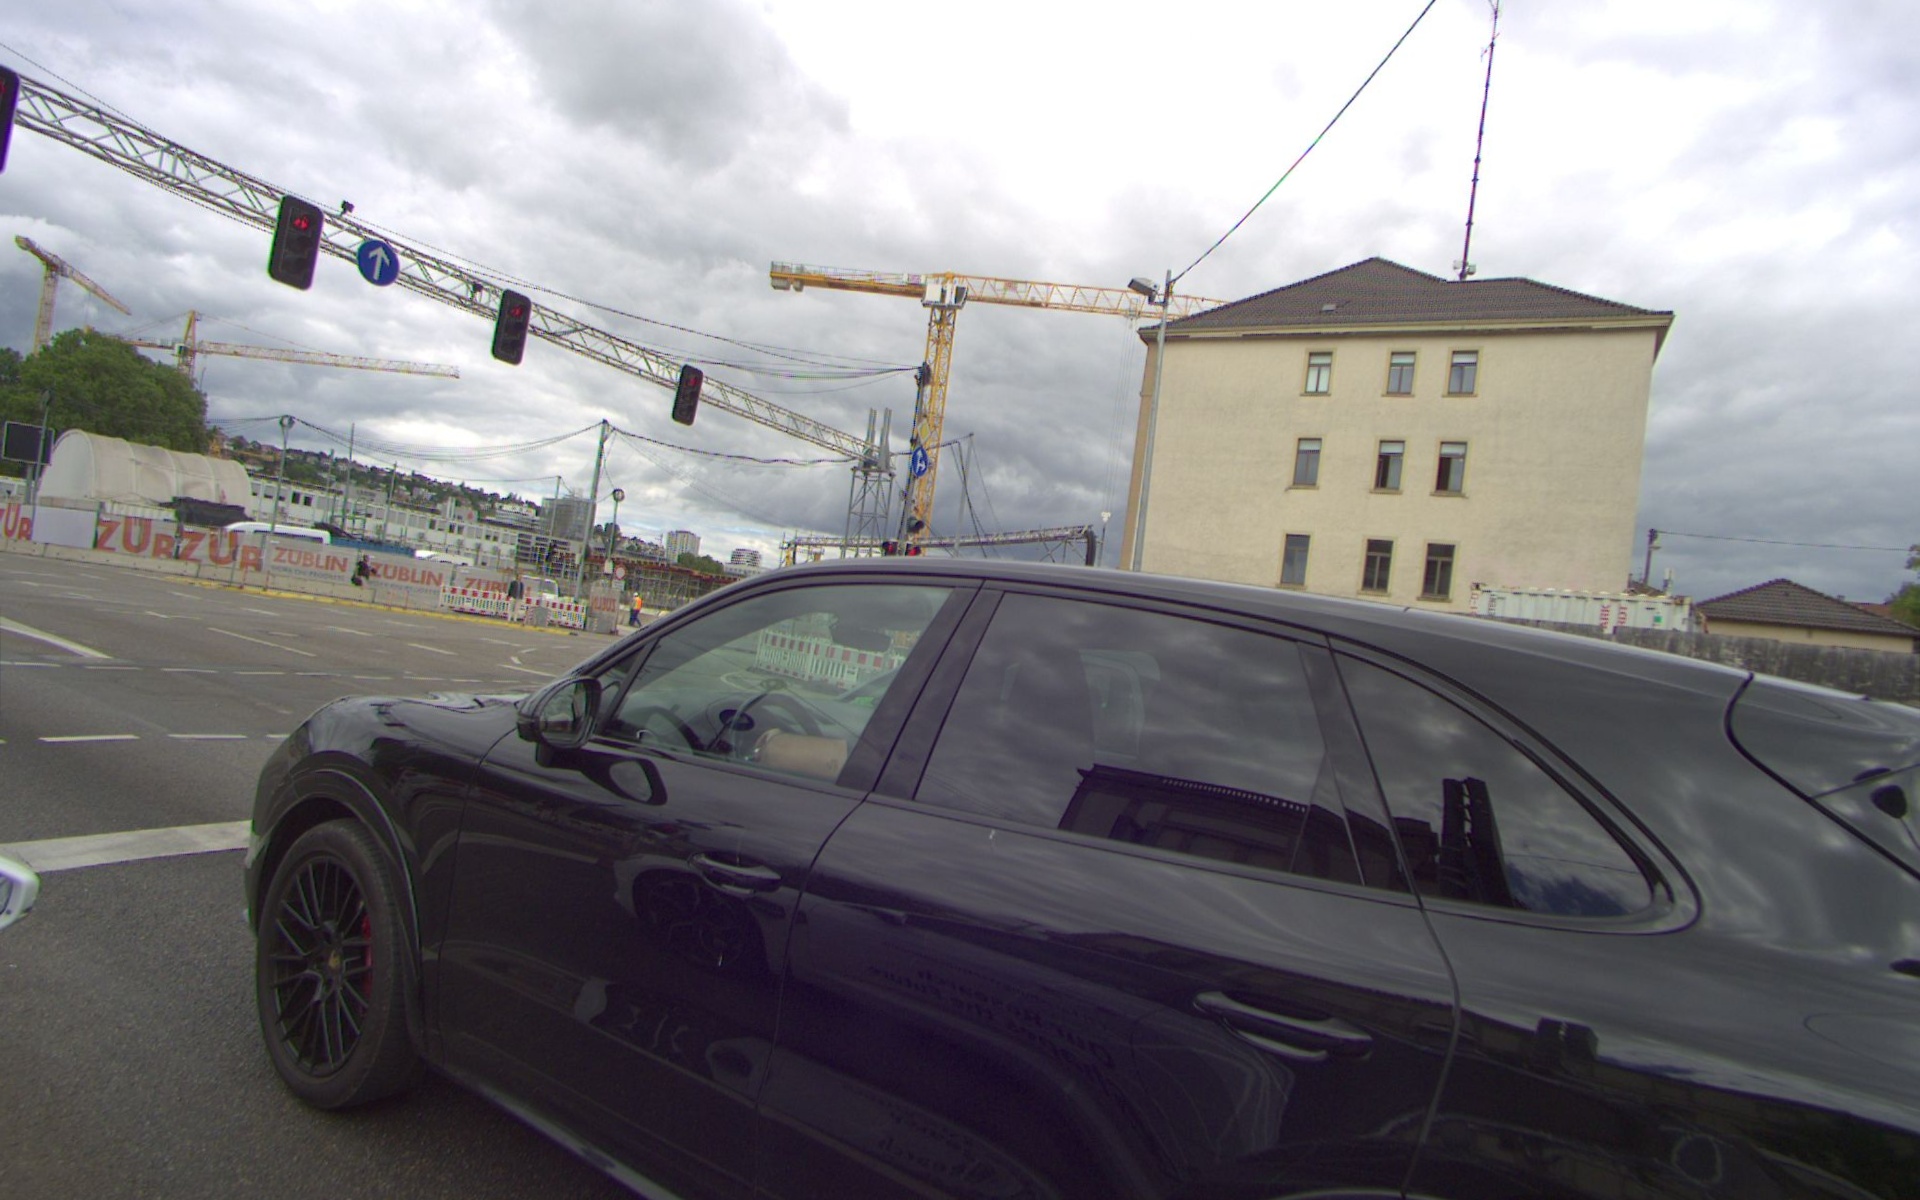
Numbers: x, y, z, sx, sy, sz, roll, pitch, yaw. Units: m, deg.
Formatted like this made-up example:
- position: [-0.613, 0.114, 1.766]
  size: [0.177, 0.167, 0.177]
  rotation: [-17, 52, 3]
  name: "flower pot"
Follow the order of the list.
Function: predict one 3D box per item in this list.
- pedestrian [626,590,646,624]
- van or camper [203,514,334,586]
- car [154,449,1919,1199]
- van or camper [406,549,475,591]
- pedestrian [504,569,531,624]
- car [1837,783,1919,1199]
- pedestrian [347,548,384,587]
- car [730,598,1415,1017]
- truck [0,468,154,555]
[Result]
- position: [-17.442, 0.397, 54.095]
  size: [0.508, 1.737, 0.654]
  rotation: [7, -1, 21]
  name: "pedestrian"
- position: [-29.795, -2.141, 43.403]
  size: [4.204, 2.384, 1.976]
  rotation: [10, -3, -44]
  name: "van or camper"
- position: [0.048, 0.715, 2.690]
  size: [4.559, 1.705, 1.959]
  rotation: [7, -2, 33]
  name: "car"
- position: [-46.120, -2.607, 89.442]
  size: [1.963, 2.945, 5.304]
  rotation: [7, -2, 20]
  name: "van or camper"
- position: [-17.176, -0.133, 39.031]
  size: [0.647, 2.037, 0.513]
  rotation: [8, -1, -33]
  name: "pedestrian"
- position: [5.603, 1.753, 2.681]
  size: [4.579, 1.589, 1.825]
  rotation: [6, -2, 34]
  name: "car"
- position: [-23.276, -1.262, 39.384]
  size: [0.891, 1.393, 0.797]
  rotation: [8, -1, -15]
  name: "pedestrian"
- position: [0.604, 1.043, 6.366]
  size: [3.818, 1.561, 1.667]
  rotation: [7, -2, 33]
  name: "car"
- position: [-57.895, -5.792, 61.917]
  size: [3.875, 4.086, 13.089]
  rotation: [8, -2, 12]
  name: "truck"
